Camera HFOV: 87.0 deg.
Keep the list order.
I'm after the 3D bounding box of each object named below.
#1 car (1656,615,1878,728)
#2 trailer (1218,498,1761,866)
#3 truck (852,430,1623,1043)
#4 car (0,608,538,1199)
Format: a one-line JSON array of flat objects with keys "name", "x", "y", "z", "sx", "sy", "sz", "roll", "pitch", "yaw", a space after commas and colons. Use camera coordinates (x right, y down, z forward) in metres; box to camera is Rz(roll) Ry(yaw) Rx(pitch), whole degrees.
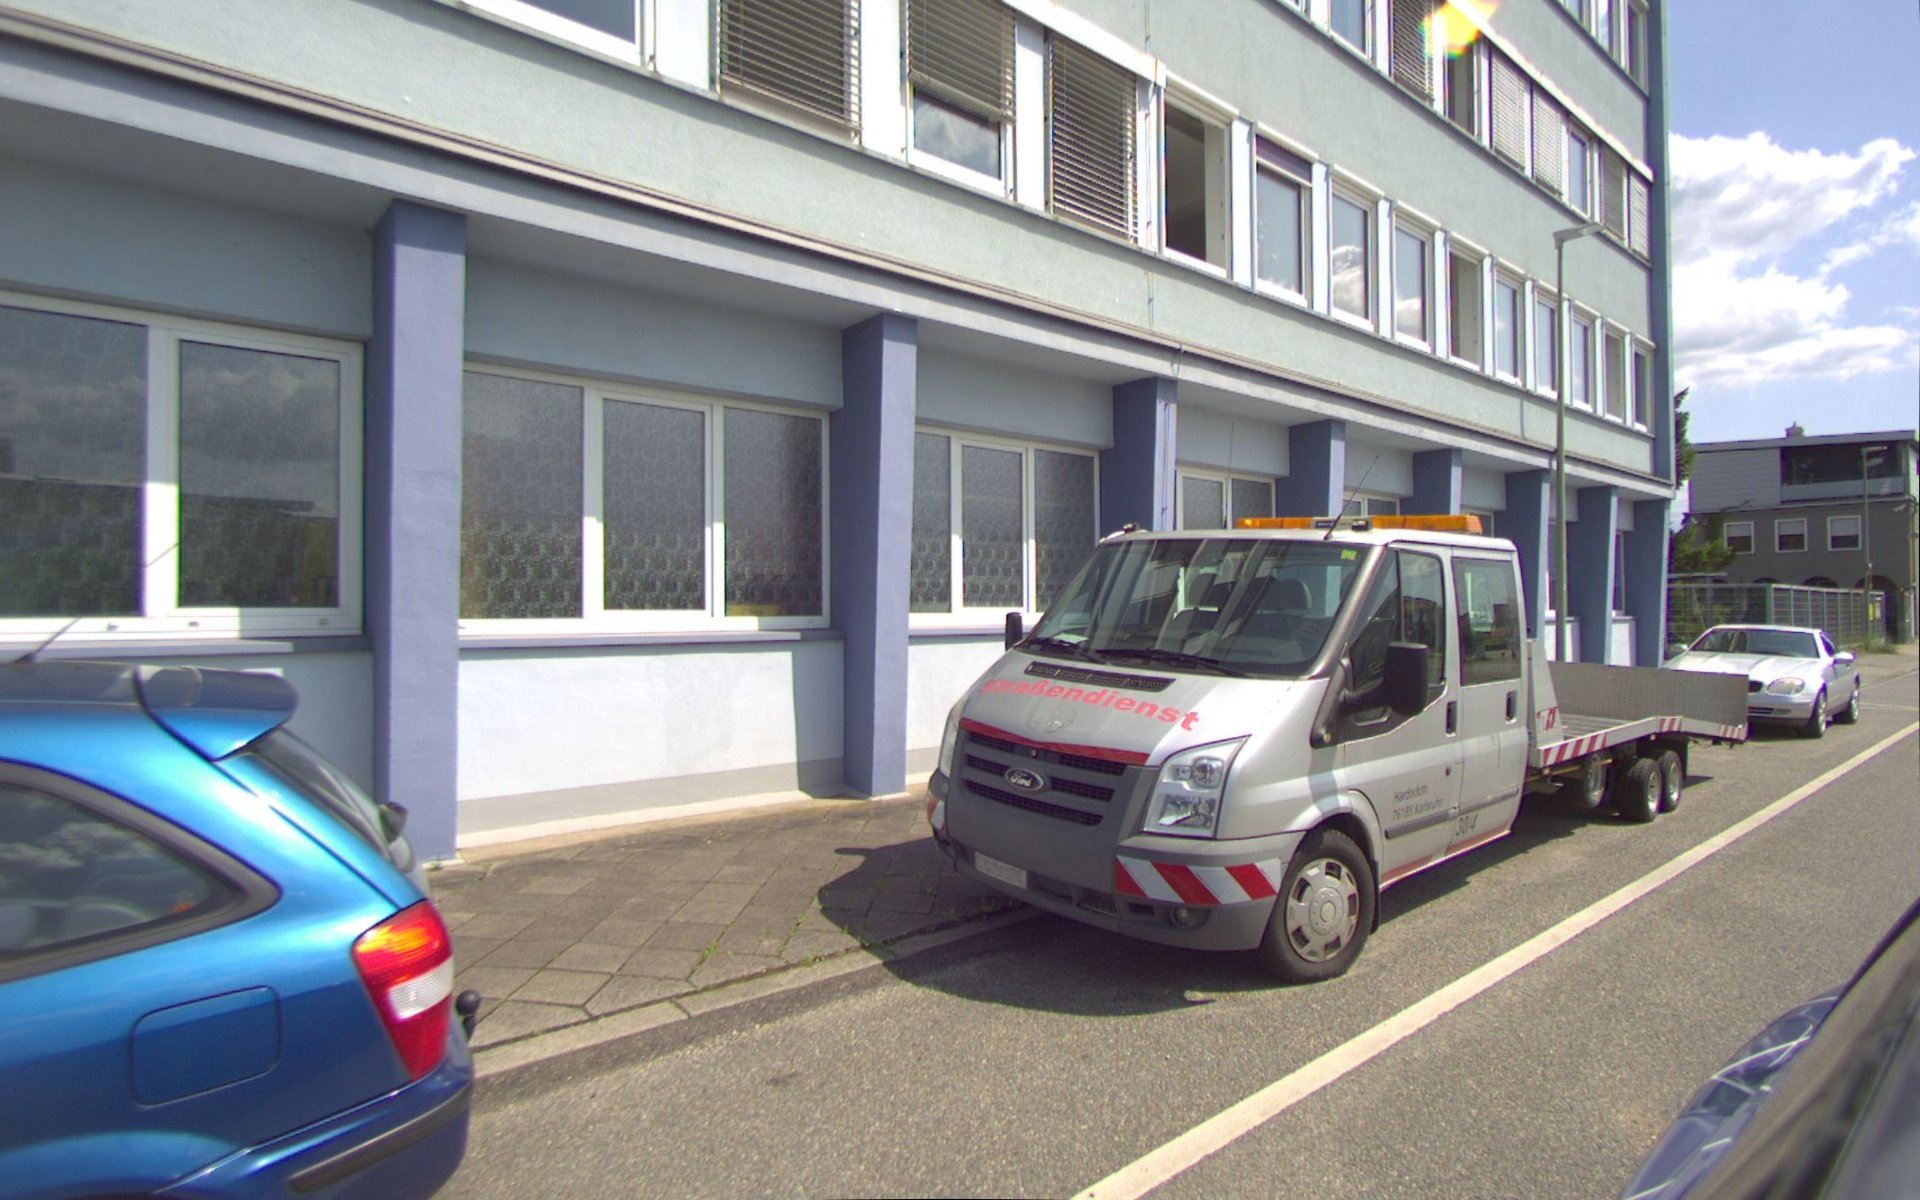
[{"name": "car", "x": 10.767, "y": 0.841, "z": 13.407, "sx": 3.931, "sy": 1.262, "sz": 1.649, "roll": 0, "pitch": -1, "yaw": -42}, {"name": "trailer", "x": 4.554, "y": 0.458, "z": 8.133, "sx": 5.666, "sy": 1.996, "sz": 1.976, "roll": 0, "pitch": -1, "yaw": -42}, {"name": "truck", "x": 1.863, "y": 0.467, "z": 5.709, "sx": 4.652, "sy": 2.061, "sz": 1.966, "roll": 0, "pitch": -1, "yaw": -42}, {"name": "car", "x": -3.030, "y": 0.828, "z": 1.262, "sx": 4.326, "sy": 1.562, "sz": 1.721, "roll": -1, "pitch": 0, "yaw": -41}]
